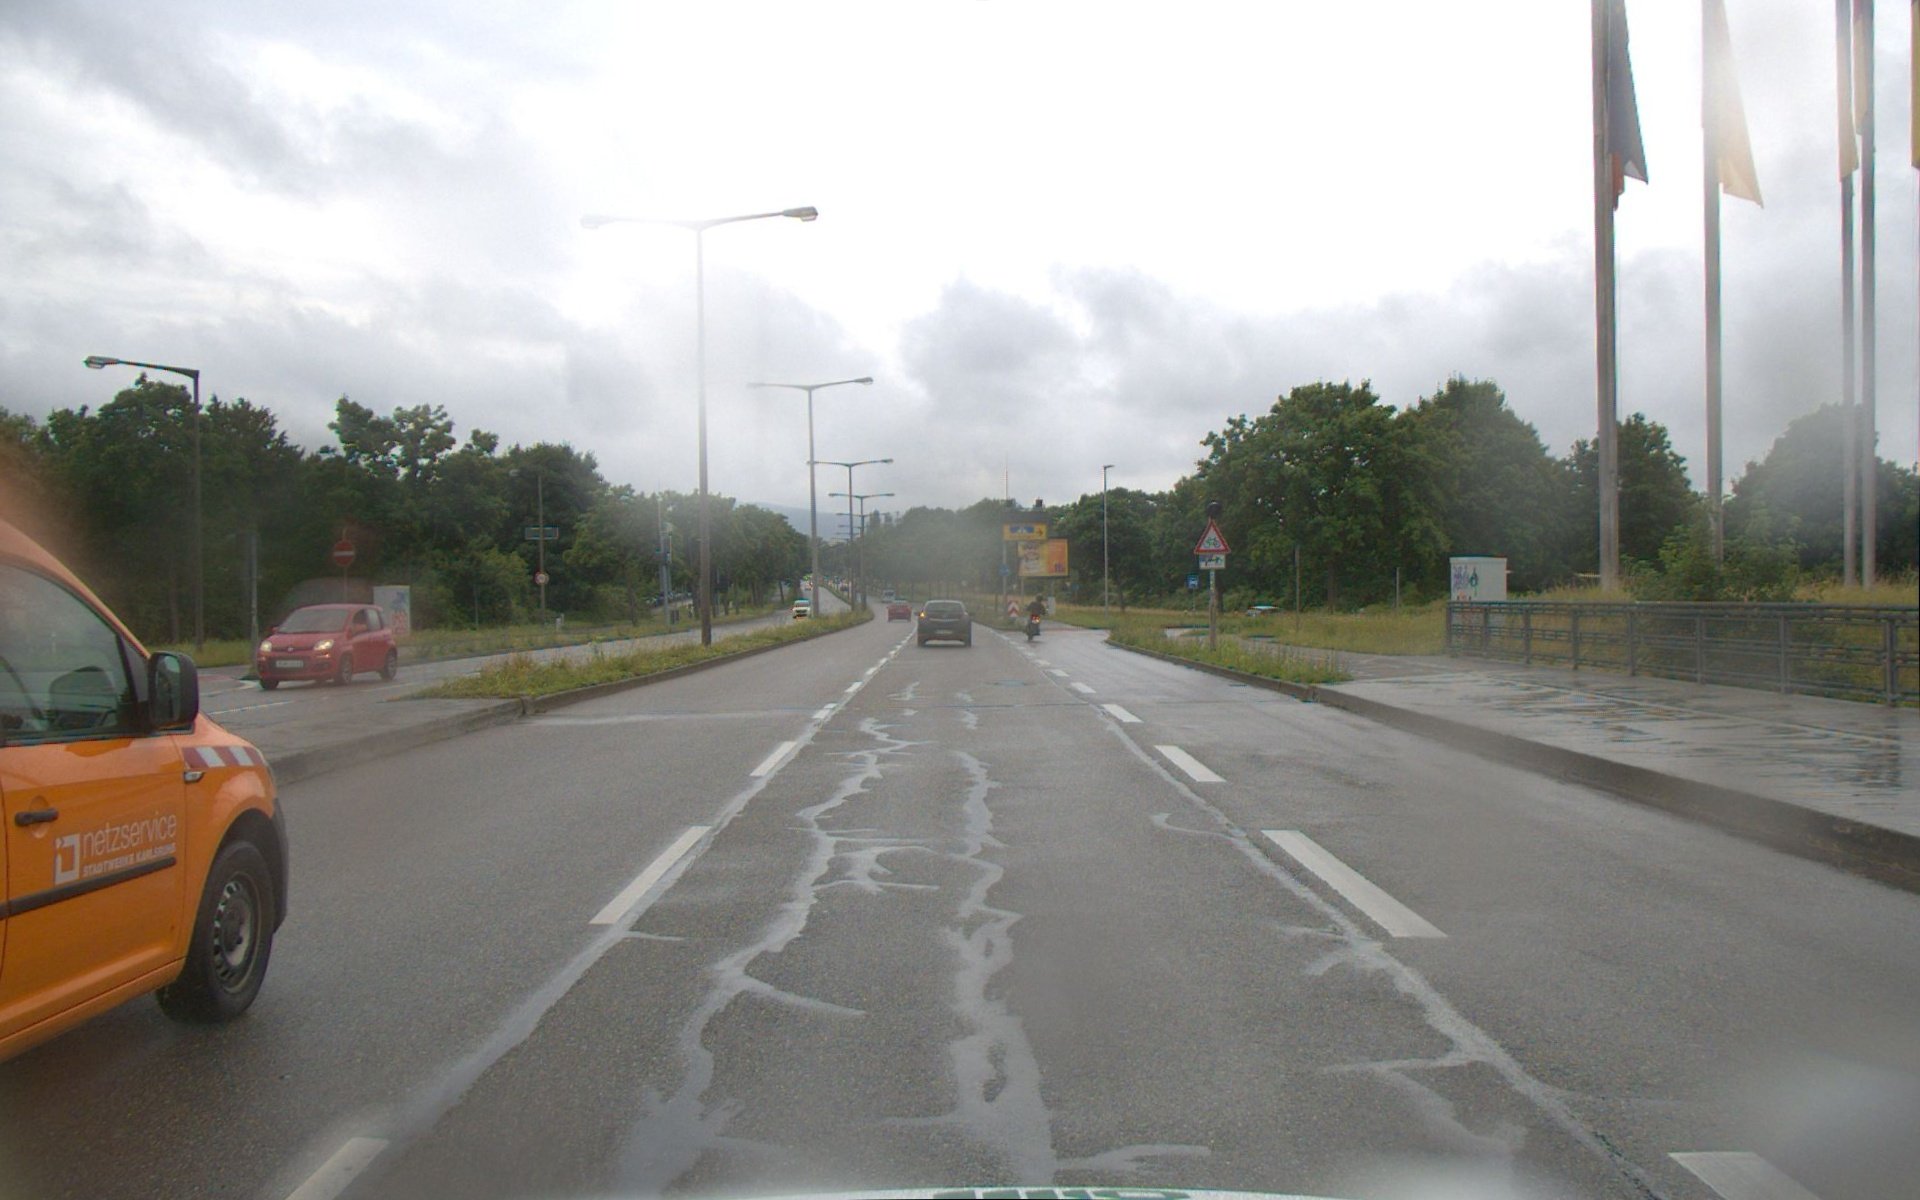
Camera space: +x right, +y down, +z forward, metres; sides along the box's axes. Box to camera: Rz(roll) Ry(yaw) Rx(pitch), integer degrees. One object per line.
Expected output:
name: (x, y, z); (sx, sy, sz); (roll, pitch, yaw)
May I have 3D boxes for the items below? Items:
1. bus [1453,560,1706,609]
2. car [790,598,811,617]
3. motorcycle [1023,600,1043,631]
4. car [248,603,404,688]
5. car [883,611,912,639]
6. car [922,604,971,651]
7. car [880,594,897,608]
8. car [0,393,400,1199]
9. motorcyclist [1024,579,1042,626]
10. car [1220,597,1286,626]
bus: (37.737, -0.919, 101.240); (14.235, 2.726, 2.765); (-1, 0, 6)
car: (-15.268, 0.693, 158.510); (1.673, 1.658, 4.490); (-3, 0, -2)
motorcycle: (2.692, 0.567, 60.888); (0.589, 1.112, 1.731); (0, 1, -2)
car: (-12.227, 0.845, 32.116); (1.627, 1.473, 3.556); (-3, 0, -1)
car: (-4.373, 1.748, 116.534); (1.953, 1.912, 3.998); (0, 0, -2)
car: (-0.443, 0.841, 51.681); (1.433, 1.352, 3.756); (0, 1, -2)
car: (-11.079, 0.155, 256.187); (2.467, 2.088, 5.287); (-1, 0, -5)
car: (-3.197, 0.521, 4.549); (1.699, 2.054, 4.848); (1, -1, -1)
motorcyclist: (2.682, 0.087, 60.866); (0.589, 1.719, 0.860); (0, 0, -2)
car: (16.976, 0.663, 95.778); (1.829, 1.646, 3.972); (0, 0, 44)
